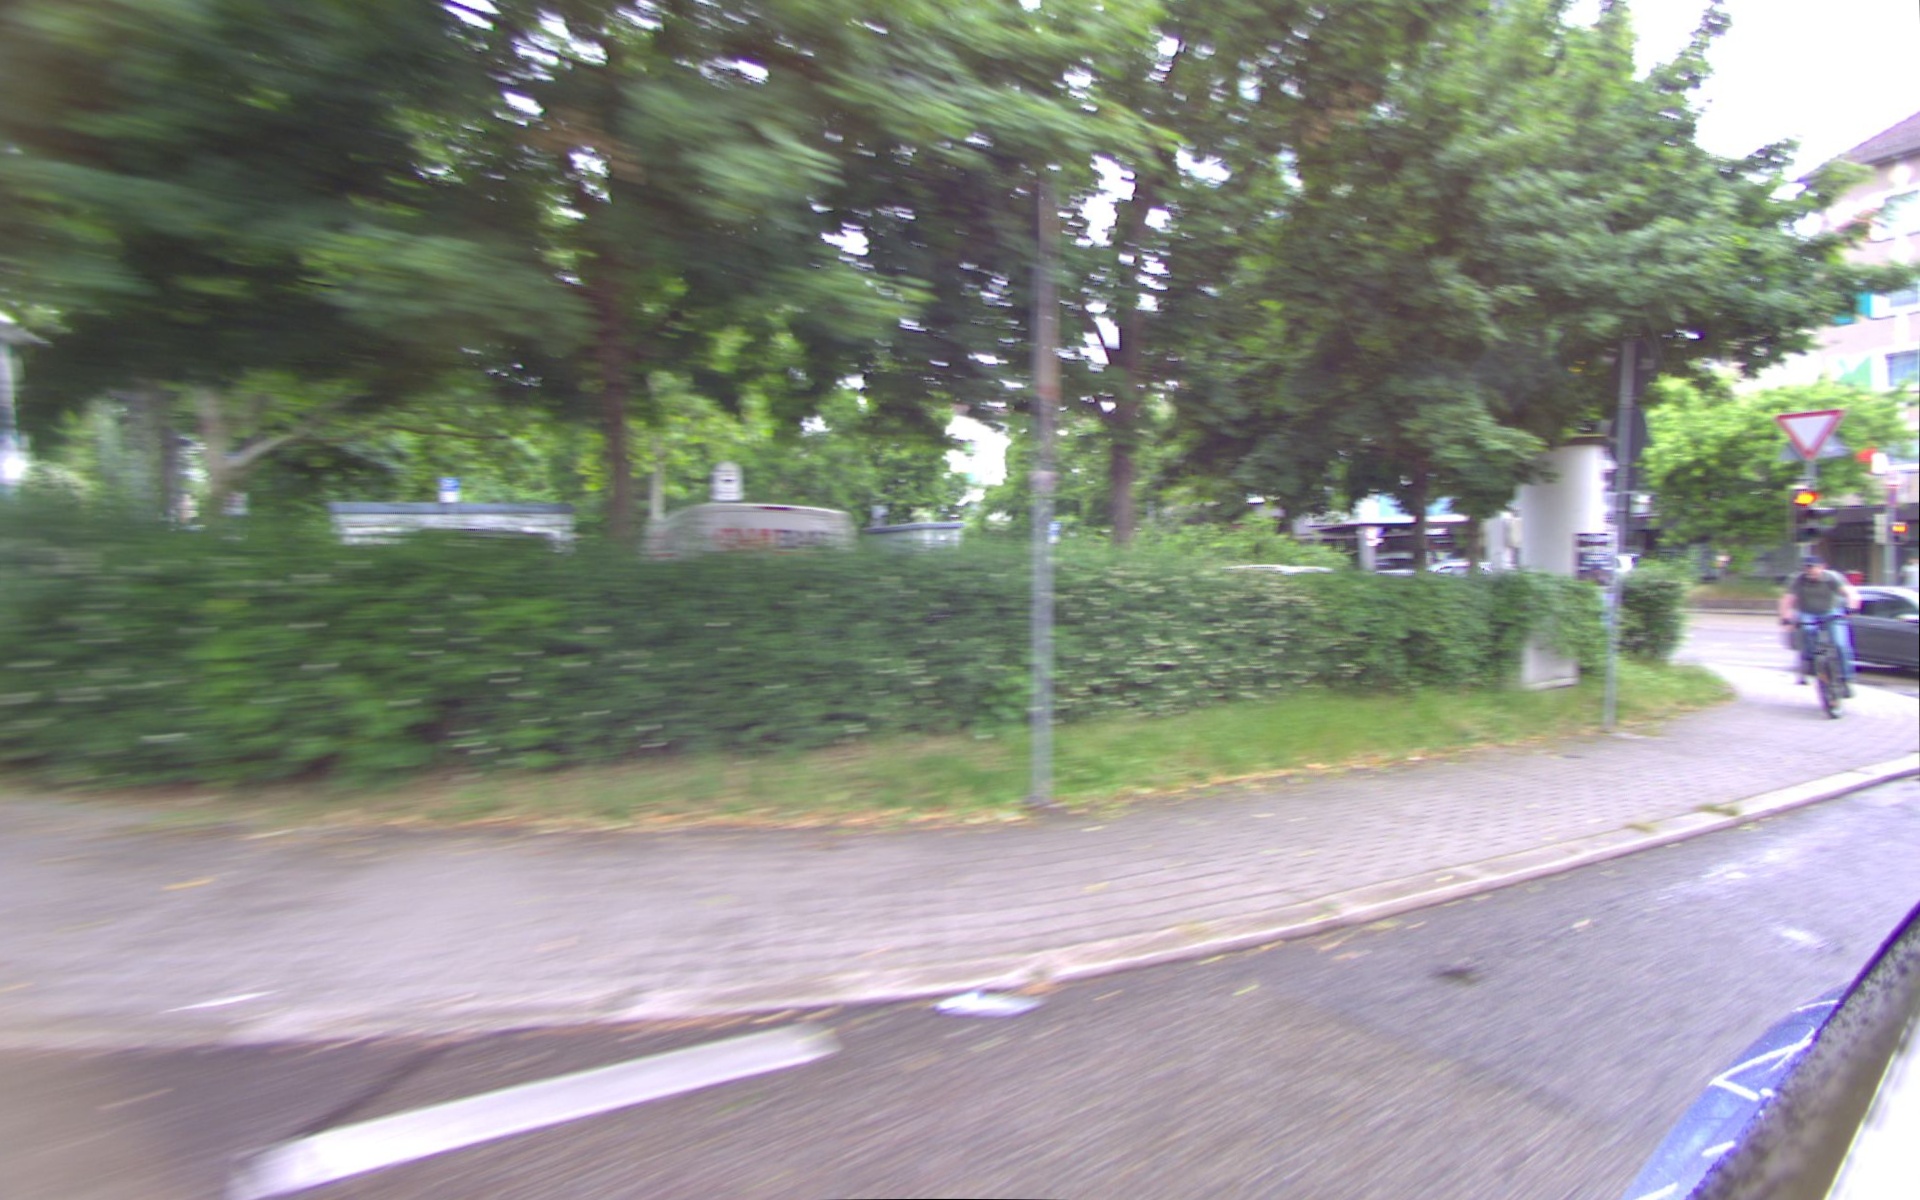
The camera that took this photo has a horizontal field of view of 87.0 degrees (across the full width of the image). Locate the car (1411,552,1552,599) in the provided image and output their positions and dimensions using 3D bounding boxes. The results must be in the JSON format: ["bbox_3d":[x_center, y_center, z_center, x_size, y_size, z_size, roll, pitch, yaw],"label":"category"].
[{"bbox_3d":[20.094,-0.997,39.235,1.951,1.723,4.580,-1,3,-26],"label":"car"}]

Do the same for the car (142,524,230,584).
[{"bbox_3d":[-29.203,-1.758,38.311,1.870,2.100,4.008,-2,3,-27],"label":"car"}]

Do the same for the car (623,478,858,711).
[{"bbox_3d":[-2.542,-0.080,10.868,1.603,1.985,4.220,1,1,-24],"label":"car"}]

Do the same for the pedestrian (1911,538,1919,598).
[{"bbox_3d":[28.886,-0.942,29.904,0.801,1.795,0.905,-1,3,-31],"label":"pedestrian"}]

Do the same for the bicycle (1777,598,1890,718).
[{"bbox_3d":[10.477,0.638,12.195,0.885,1.201,2.103,5,5,40],"label":"bicycle"}]

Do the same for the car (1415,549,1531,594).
[{"bbox_3d":[21.645,-1.247,42.859,1.619,1.685,4.192,-4,5,-30],"label":"car"}]

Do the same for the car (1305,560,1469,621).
[{"bbox_3d":[13.720,-0.392,32.781,1.955,1.597,4.585,-8,7,-32],"label":"car"}]

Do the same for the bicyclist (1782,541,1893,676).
[{"bbox_3d":[10.491,0.067,12.138,0.885,1.507,0.955,5,4,40],"label":"bicyclist"}]

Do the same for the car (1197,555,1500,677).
[{"bbox_3d":[5.848,0.171,15.737,1.606,1.642,4.213,1,1,-34],"label":"car"}]

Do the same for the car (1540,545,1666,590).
[{"bbox_3d":[27.019,-1.421,42.667,1.619,1.685,4.192,-4,5,-30],"label":"car"}]

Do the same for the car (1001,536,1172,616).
[{"bbox_3d":[2.933,-0.567,23.365,3.627,1.717,1.640,-1,2,-28],"label":"car"}]

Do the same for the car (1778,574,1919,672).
[{"bbox_3d":[16.221,0.362,16.684,1.655,1.523,4.506,-1,2,-2],"label":"car"}]
